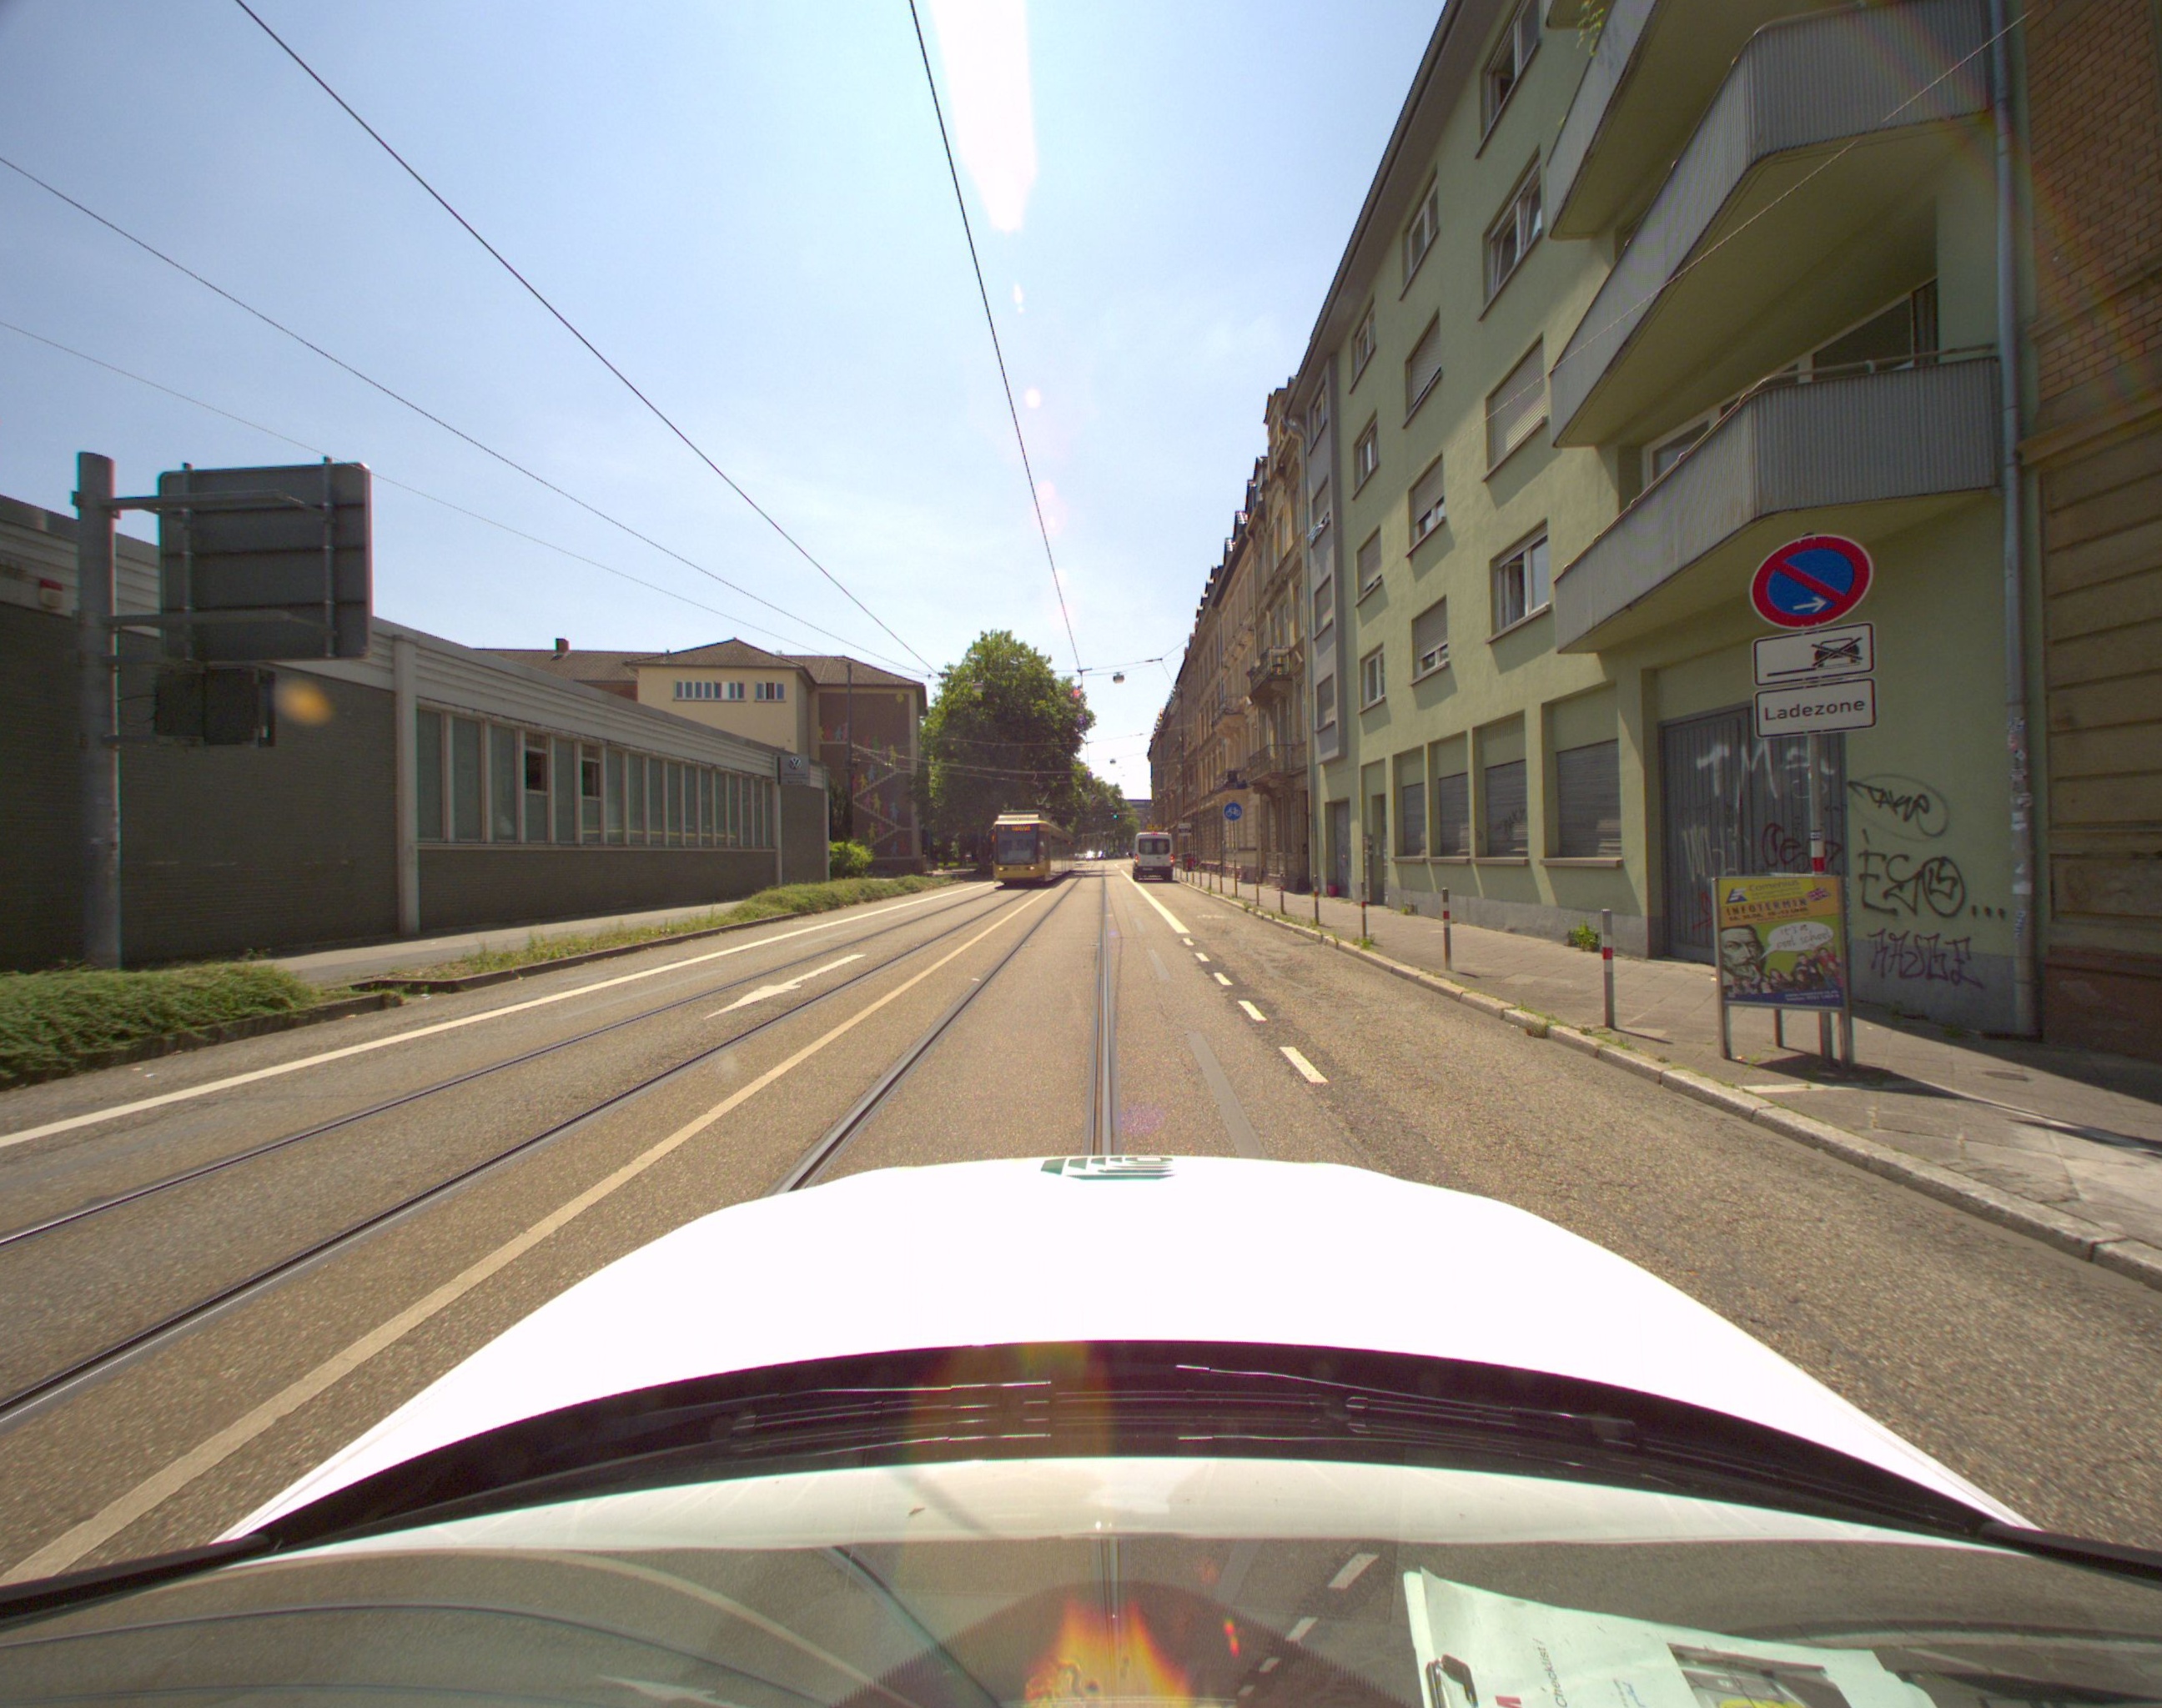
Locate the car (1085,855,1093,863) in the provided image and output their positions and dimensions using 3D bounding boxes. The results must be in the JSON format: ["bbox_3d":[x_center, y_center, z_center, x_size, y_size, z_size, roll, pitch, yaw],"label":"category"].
[{"bbox_3d":[1.465,0.900,155.224,1.523,1.408,3.488,0,0,-1],"label":"car"}]

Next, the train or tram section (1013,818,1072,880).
[{"bbox_3d":[-2.307,-0.303,54.035,2.950,3.580,13.426,-1,0,1],"label":"train or tram section"}]

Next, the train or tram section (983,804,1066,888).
[{"bbox_3d":[-2.578,-0.346,41.859,2.950,3.580,13.426,-1,0,1],"label":"train or tram section"}]

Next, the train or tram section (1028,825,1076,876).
[{"bbox_3d":[-2.075,-0.267,64.282,2.950,3.580,13.426,-1,0,1],"label":"train or tram section"}]

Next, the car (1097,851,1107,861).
[{"bbox_3d":[4.189,0.435,161.909,1.669,1.860,3.998,0,0,-1],"label":"car"}]

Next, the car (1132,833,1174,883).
[{"bbox_3d":[3.813,0.194,43.848,2.059,2.501,5.458,0,0,3],"label":"car"}]
